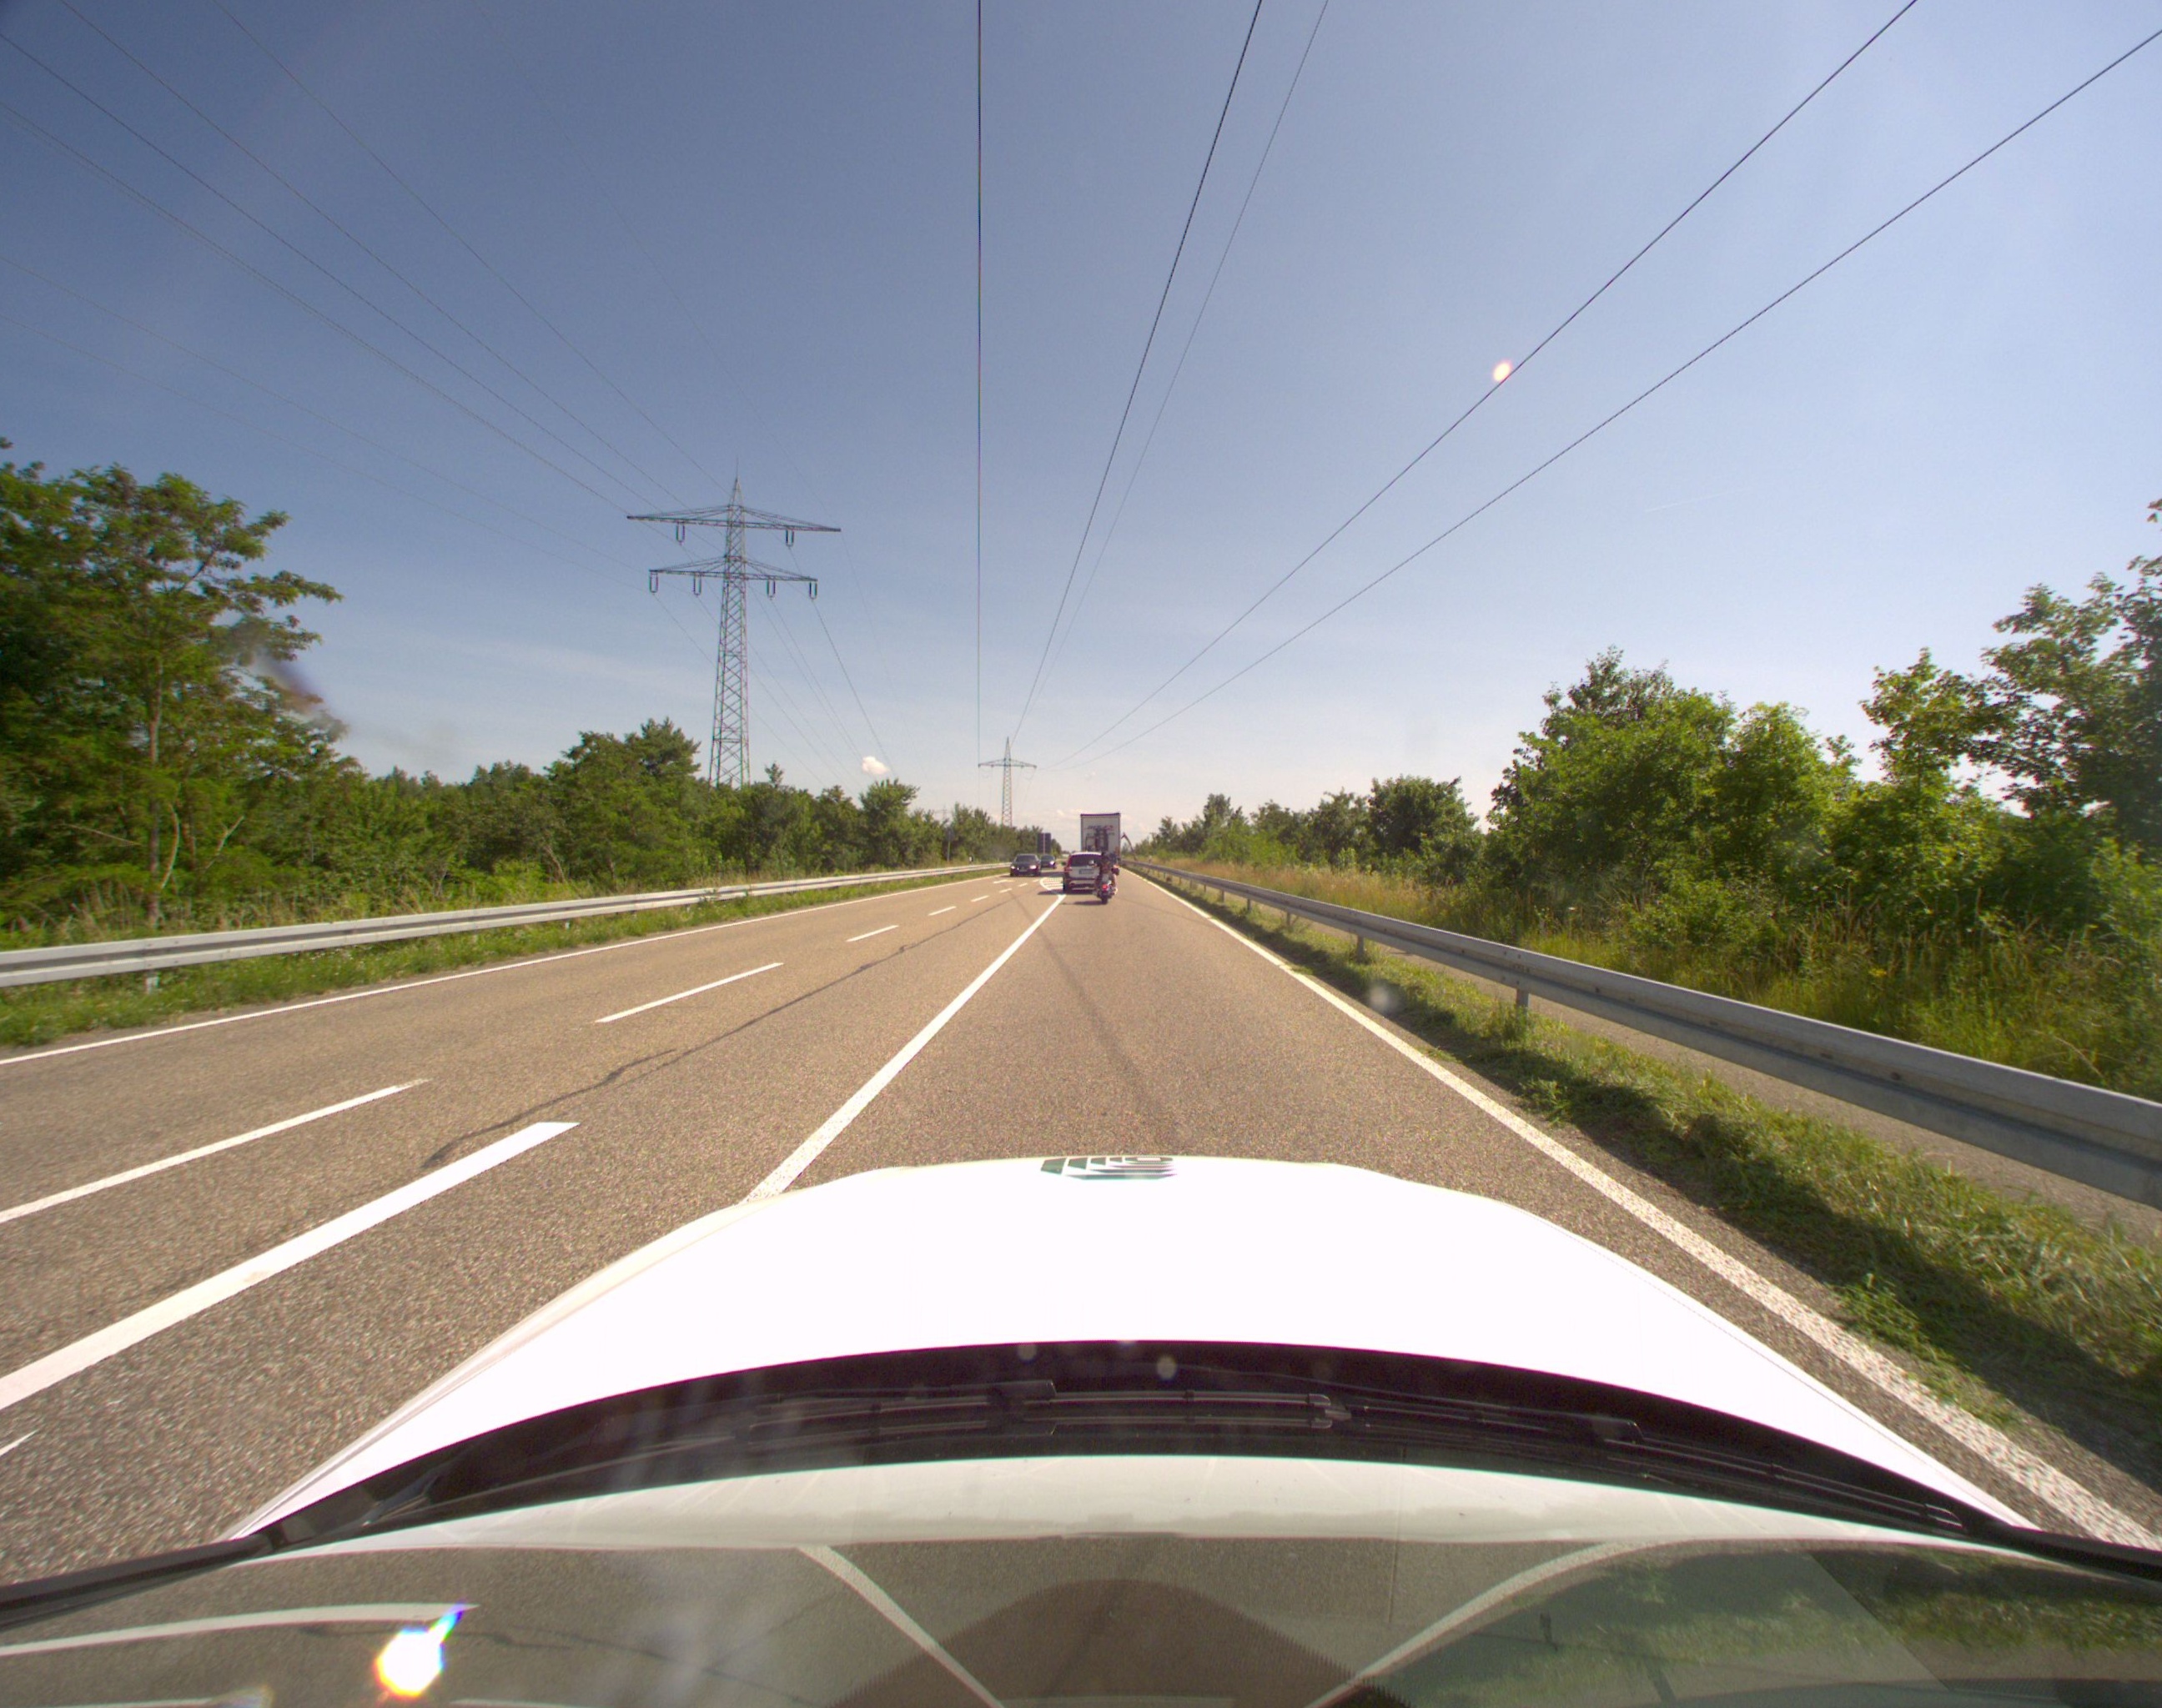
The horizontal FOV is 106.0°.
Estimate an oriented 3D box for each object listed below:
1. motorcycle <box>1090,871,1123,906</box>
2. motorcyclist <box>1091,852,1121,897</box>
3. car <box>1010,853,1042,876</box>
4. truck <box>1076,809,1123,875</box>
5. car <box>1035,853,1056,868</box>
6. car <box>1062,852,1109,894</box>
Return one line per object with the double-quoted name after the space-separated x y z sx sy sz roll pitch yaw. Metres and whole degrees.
0.734 0.988 24.063 0.856 0.915 2.227 -1 0 -1 "motorcycle"
0.732 0.599 24.144 0.835 1.280 0.919 0 0 -1 "motorcyclist"
-3.634 0.658 54.465 1.721 1.491 4.423 -1 0 1 "car"
1.479 -0.750 59.354 2.956 4.187 14.830 0 0 2 "truck"
-3.464 0.589 80.107 1.653 1.442 4.216 -1 0 2 "car"
0.215 0.683 31.444 1.695 1.536 3.500 0 0 1 "car"
